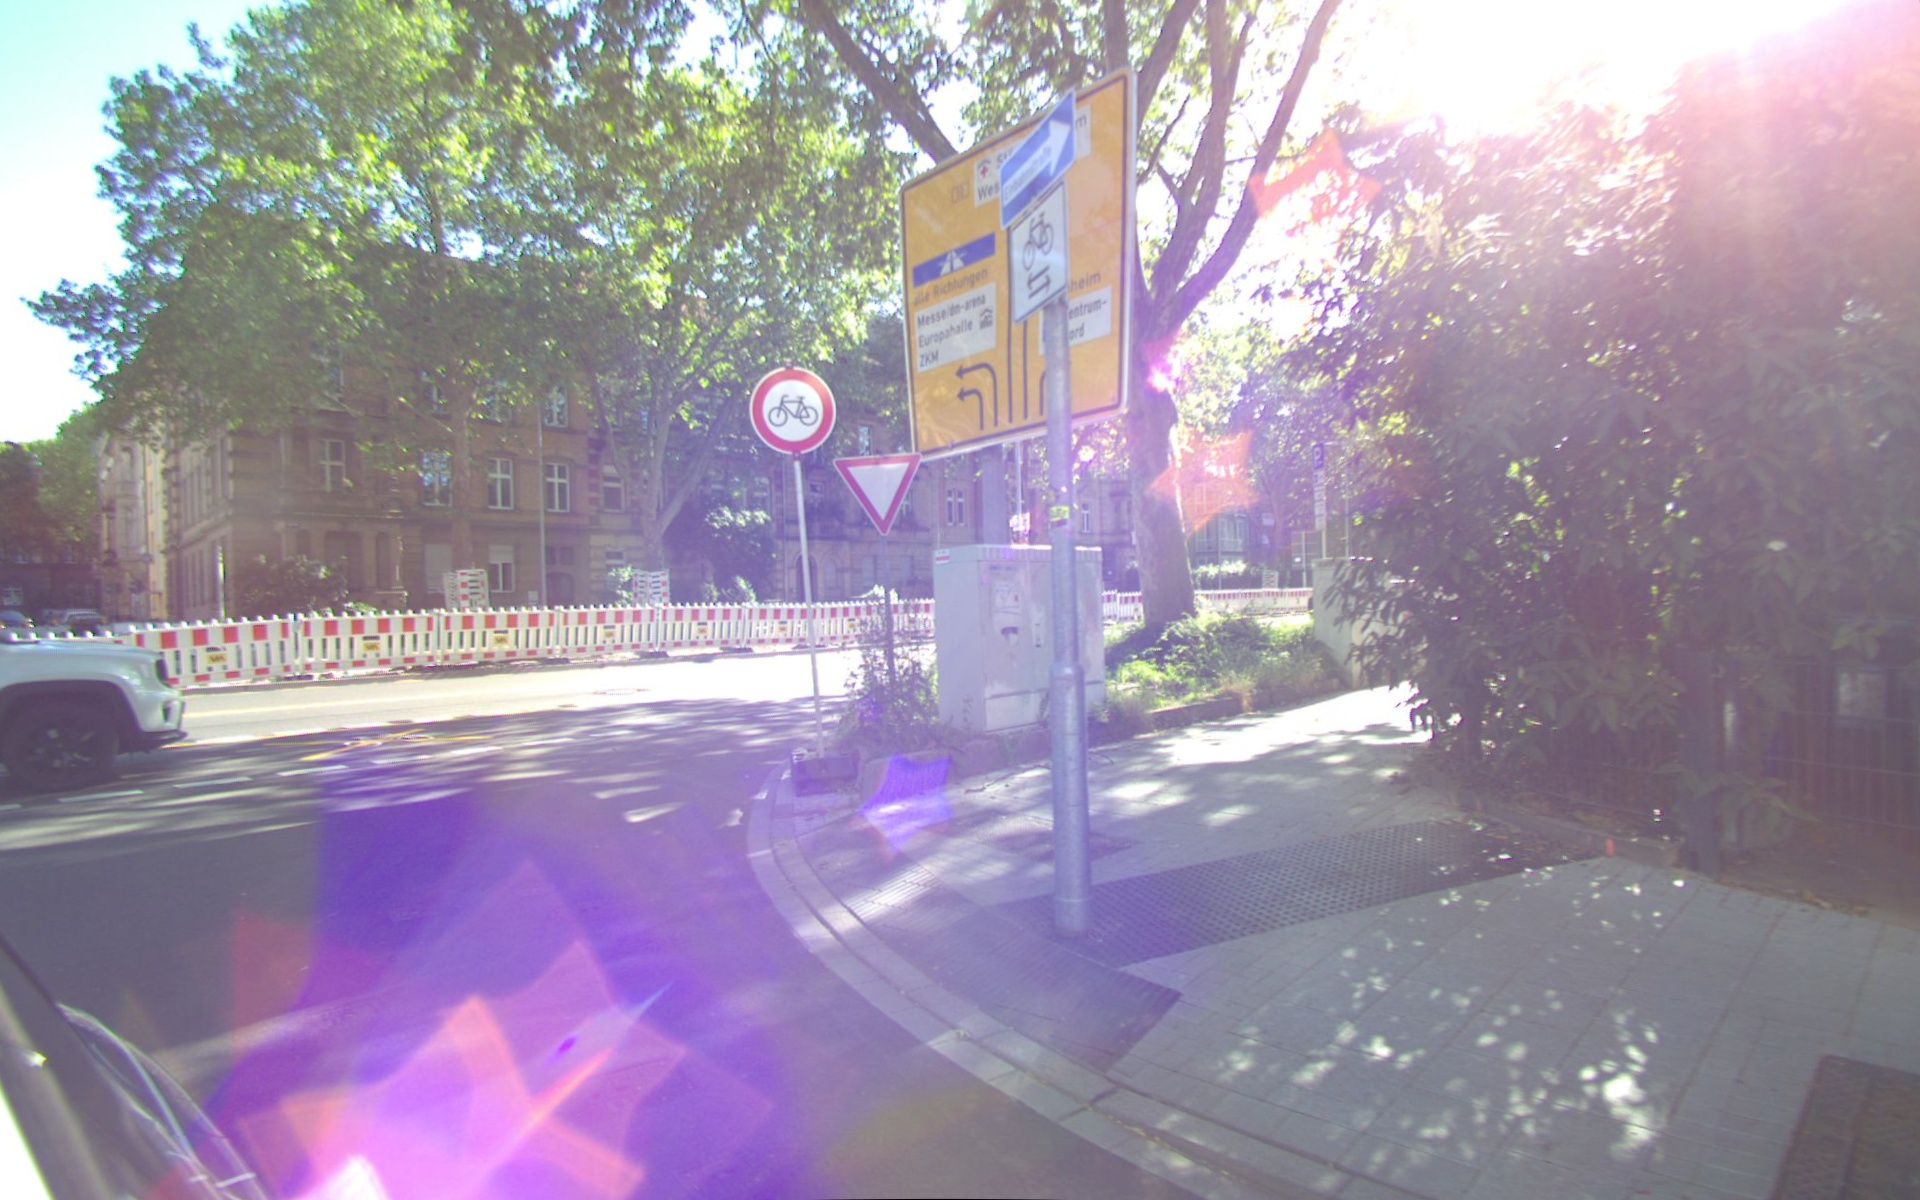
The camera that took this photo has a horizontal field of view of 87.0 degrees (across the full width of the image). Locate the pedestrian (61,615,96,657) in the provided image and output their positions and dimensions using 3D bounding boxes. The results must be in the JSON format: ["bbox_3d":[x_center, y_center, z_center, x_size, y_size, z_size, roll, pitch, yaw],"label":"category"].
[{"bbox_3d":[-36.337,1.484,41.710,0.821,1.673,0.755,-2,-1,19],"label":"pedestrian"}]

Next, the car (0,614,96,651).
[{"bbox_3d":[-47.616,1.667,52.826,3.747,1.749,1.624,-1,-1,-44],"label":"car"}]

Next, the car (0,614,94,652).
[{"bbox_3d":[-44.425,1.578,49.024,3.625,1.662,1.602,-1,0,-44],"label":"car"}]

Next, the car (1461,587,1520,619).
[{"bbox_3d":[26.145,0.130,49.825,1.625,1.497,3.681,-1,1,43],"label":"car"}]

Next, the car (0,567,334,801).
[{"bbox_3d":[-7.834,0.627,8.125,1.870,1.739,4.443,0,1,43],"label":"car"}]

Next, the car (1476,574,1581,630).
[{"bbox_3d":[17.387,0.048,30.901,1.779,1.580,3.942,-2,-1,45],"label":"car"}]

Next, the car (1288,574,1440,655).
[{"bbox_3d":[8.785,0.293,21.829,1.778,1.580,3.945,-3,-1,41],"label":"car"}]

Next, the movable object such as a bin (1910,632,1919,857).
[{"bbox_3d":[4.675,0.638,4.441,0.540,0.978,0.690,-1,-1,-44],"label":"movable object such as a bin"}]

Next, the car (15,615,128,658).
[{"bbox_3d":[-40.075,1.609,45.691,3.747,1.749,1.624,-1,-1,-44],"label":"car"}]

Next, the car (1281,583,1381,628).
[{"bbox_3d":[13.414,0.179,36.456,1.844,1.494,4.413,-1,0,43],"label":"car"}]

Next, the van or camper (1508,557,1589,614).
[{"bbox_3d":[26.171,-0.631,44.919,2.252,2.363,4.475,-1,0,42],"label":"van or camper"}]
